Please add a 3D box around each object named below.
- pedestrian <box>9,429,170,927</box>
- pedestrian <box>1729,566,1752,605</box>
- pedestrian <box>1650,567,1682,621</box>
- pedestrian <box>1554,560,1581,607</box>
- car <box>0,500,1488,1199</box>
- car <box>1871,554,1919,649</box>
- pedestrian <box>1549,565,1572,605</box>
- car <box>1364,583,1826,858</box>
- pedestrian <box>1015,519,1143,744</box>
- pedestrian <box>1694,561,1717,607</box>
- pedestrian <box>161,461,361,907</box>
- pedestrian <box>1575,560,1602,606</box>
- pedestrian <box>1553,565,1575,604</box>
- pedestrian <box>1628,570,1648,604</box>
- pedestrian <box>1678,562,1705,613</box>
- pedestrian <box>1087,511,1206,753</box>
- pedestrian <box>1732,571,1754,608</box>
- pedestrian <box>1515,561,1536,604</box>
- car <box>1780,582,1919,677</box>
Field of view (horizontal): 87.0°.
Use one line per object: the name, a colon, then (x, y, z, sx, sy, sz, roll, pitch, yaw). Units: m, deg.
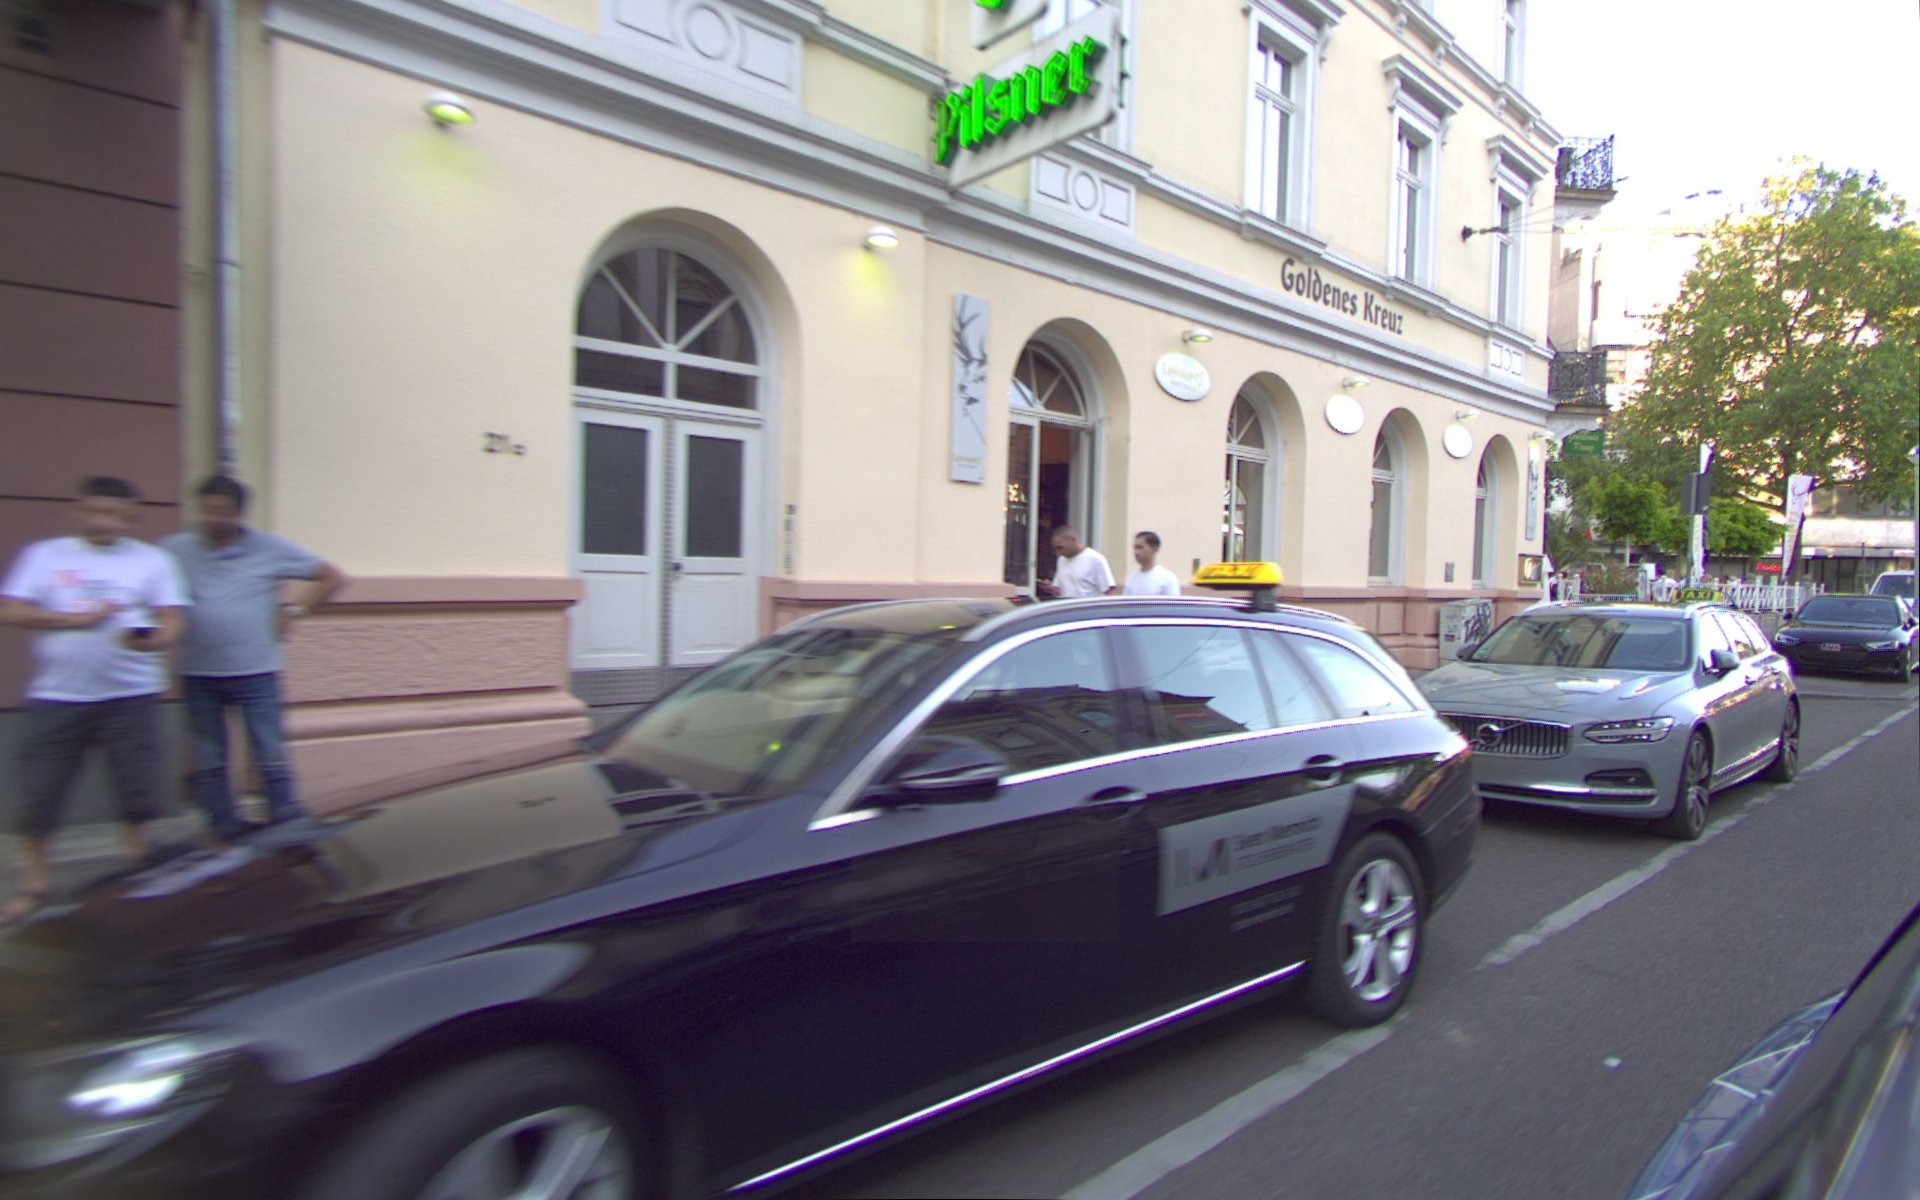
pedestrian: (-3.357, 0.272, 3.905, 0.448, 1.789, 0.373, 0, 4, -45)
pedestrian: (27.230, -0.502, 35.313, 0.482, 1.349, 0.531, 0, 1, -41)
pedestrian: (17.649, -0.156, 25.299, 0.482, 1.312, 0.531, 0, 1, -41)
pedestrian: (17.678, -0.473, 29.442, 0.482, 1.349, 0.531, 0, 1, -41)
car: (-0.201, 0.643, 3.272, 4.361, 1.610, 1.737, -1, 0, -38)
car: (23.278, 0.003, 23.972, 5.124, 2.092, 1.856, -1, 3, -41)
pedestrian: (20.347, -0.506, 34.300, 0.523, 1.349, 0.490, 0, 1, -41)
car: (5.090, 0.631, 7.804, 4.612, 1.494, 1.809, -1, 1, -41)
pedestrian: (0.962, 0.228, 8.277, 0.542, 1.709, 0.761, 0, 6, -41)
pedestrian: (25.572, -0.547, 34.718, 0.523, 1.578, 0.490, 0, 1, -41)
pedestrian: (-3.036, 0.327, 4.403, 0.653, 1.789, 0.373, 0, 4, -45)
pedestrian: (18.811, -0.507, 30.278, 0.482, 1.349, 0.531, 0, 1, -41)
pedestrian: (20.965, -0.532, 35.099, 0.523, 1.349, 0.490, 0, 1, -41)
pedestrian: (26.462, -0.516, 39.502, 0.482, 1.313, 0.531, 0, 1, -41)
pedestrian: (19.268, -0.338, 26.652, 0.528, 1.312, 0.485, 2, 1, 34)
pedestrian: (1.378, 0.216, 7.564, 0.476, 1.709, 0.623, 2, 5, -25)
pedestrian: (28.034, -0.374, 36.238, 0.482, 1.313, 0.531, 0, 1, -41)
pedestrian: (17.257, -0.534, 30.881, 0.486, 1.282, 0.527, 1, 1, 26)
car: (16.169, 0.425, 17.996, 4.469, 1.407, 1.700, -1, 4, -41)
